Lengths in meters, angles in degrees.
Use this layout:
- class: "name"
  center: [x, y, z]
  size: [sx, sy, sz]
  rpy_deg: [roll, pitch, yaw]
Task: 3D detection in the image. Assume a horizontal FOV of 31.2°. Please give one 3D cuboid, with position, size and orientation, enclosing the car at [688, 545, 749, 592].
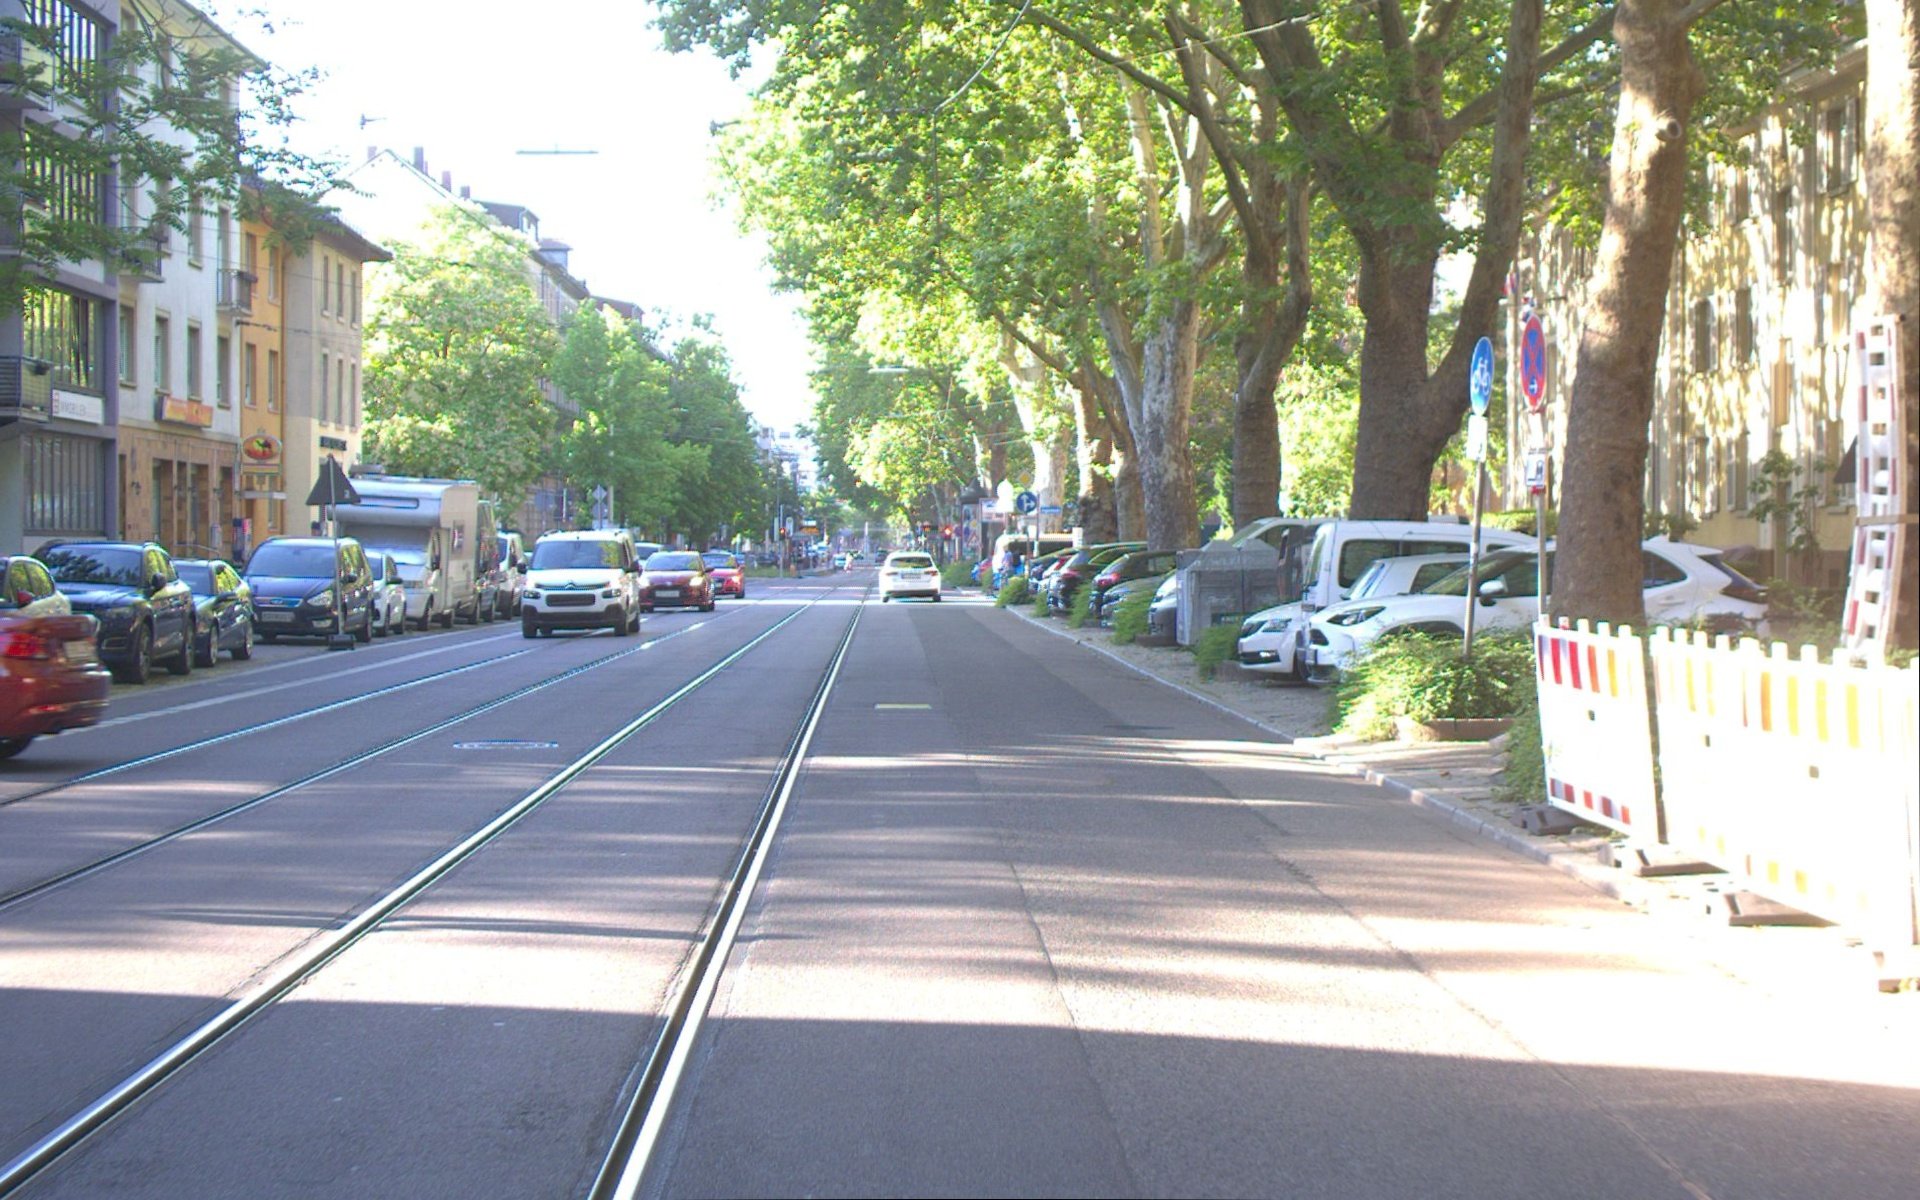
- class: "car"
  center: [-7.605, -1.021, 108.627]
  size: [1.723, 1.432, 4.069]
  rpy_deg: [-1, 1, -1]

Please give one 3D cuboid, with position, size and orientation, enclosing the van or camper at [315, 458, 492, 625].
- class: "van or camper"
  center: [-10.997, -1.158, 68.421]
  size: [2.337, 3.030, 6.397]
  rpy_deg: [4, 1, 0]

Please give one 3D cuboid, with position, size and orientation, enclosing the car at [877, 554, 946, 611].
- class: "car"
  center: [-1.426, -0.526, 99.269]
  size: [1.918, 1.579, 3.791]
  rpy_deg: [-1, 1, -1]

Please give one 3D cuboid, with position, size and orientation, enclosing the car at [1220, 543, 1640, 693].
- class: "car"
  center: [5.046, 0.177, 37.394]
  size: [4.371, 1.537, 1.801]
  rpy_deg: [0, 2, 3]

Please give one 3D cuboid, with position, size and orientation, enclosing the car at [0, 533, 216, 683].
- class: "car"
  center: [-10.307, 0.052, 41.417]
  size: [1.781, 1.605, 4.588]
  rpy_deg: [3, 1, -2]

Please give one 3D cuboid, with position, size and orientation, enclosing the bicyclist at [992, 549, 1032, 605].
- class: "bicyclist"
  center: [1.609, -0.717, 106.832]
  size: [1.045, 1.700, 1.058]
  rpy_deg: [0, 1, -10]

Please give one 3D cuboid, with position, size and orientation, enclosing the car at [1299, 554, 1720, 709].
- class: "car"
  center: [5.277, 0.286, 33.410]
  size: [3.844, 1.428, 1.851]
  rpy_deg: [0, 1, 3]

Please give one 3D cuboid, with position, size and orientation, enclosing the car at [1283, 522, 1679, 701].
- class: "car"
  center: [5.297, 0.100, 35.370]
  size: [3.844, 1.766, 1.916]
  rpy_deg: [0, 1, 3]

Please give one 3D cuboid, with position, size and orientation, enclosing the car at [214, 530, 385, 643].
- class: "car"
  center: [-10.732, -0.253, 56.179]
  size: [1.952, 1.680, 5.071]
  rpy_deg: [2, 1, -2]

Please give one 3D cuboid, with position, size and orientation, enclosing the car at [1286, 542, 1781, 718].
- class: "car"
  center: [5.111, 0.260, 31.000]
  size: [4.087, 1.516, 1.917]
  rpy_deg: [0, 0, -2]

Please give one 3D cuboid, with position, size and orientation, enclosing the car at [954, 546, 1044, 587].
- class: "car"
  center: [1.734, -1.503, 154.333]
  size: [3.987, 1.778, 2.000]
  rpy_deg: [0, 1, -1]

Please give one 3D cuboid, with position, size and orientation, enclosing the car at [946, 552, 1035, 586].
- class: "car"
  center: [1.368, -1.416, 156.636]
  size: [3.987, 1.515, 2.000]
  rpy_deg: [0, 1, -1]

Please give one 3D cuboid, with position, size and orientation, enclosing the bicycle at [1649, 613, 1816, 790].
- class: "bicycle"
  center: [5.010, 0.638, 22.384]
  size: [0.635, 1.067, 1.809]
  rpy_deg: [0, 1, -1]

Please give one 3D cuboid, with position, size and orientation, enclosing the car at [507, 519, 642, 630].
- class: "car"
  center: [-6.631, -0.459, 59.577]
  size: [1.891, 1.826, 4.896]
  rpy_deg: [0, 1, -1]

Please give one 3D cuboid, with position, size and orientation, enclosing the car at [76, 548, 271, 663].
- class: "car"
  center: [-10.587, 0.042, 46.565]
  size: [1.738, 1.396, 4.383]
  rpy_deg: [2, 1, -2]

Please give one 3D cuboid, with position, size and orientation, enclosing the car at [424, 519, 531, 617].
- class: "car"
  center: [-11.346, -0.793, 81.098]
  size: [1.952, 2.084, 5.249]
  rpy_deg: [3, 1, -3]

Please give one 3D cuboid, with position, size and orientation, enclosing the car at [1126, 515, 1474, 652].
- class: "car"
  center: [4.984, -0.256, 50.859]
  size: [4.835, 1.956, 2.065]
  rpy_deg: [0, 1, -3]

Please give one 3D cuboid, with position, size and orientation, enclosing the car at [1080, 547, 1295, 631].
- class: "car"
  center: [4.185, -0.219, 63.663]
  size: [3.838, 1.504, 1.711]
  rpy_deg: [0, 1, -1]

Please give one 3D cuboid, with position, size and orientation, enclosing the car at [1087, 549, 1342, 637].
- class: "car"
  center: [4.388, -0.131, 59.758]
  size: [4.247, 1.478, 1.898]
  rpy_deg: [0, 1, -1]

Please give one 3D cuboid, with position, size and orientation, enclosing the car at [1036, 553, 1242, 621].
- class: "car"
  center: [3.867, -0.285, 74.773]
  size: [4.295, 1.434, 1.948]
  rpy_deg: [0, 1, -2]

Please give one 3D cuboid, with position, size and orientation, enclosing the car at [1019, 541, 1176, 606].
- class: "car"
  center: [3.589, -0.696, 90.251]
  size: [3.923, 1.664, 1.961]
  rpy_deg: [0, 1, -3]

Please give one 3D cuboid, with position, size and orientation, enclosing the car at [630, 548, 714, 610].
- class: "car"
  center: [-7.030, -0.533, 84.250]
  size: [1.775, 1.453, 4.203]
  rpy_deg: [-1, 1, -1]

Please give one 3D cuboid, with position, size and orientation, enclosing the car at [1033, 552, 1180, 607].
- class: "car"
  center: [3.725, -0.525, 88.031]
  size: [3.650, 1.373, 1.890]
  rpy_deg: [0, 1, 0]

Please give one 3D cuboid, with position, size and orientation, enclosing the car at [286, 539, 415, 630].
- class: "car"
  center: [-10.938, -0.306, 61.924]
  size: [1.710, 1.483, 3.862]
  rpy_deg: [3, 1, -2]

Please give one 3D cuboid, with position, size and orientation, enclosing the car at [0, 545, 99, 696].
- class: "car"
  center: [-10.467, 0.162, 36.064]
  size: [1.806, 1.473, 4.090]
  rpy_deg: [3, 1, 0]

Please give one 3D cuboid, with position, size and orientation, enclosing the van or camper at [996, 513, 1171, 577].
- class: "van or camper"
  center: [4.068, -1.828, 114.295]
  size: [5.554, 2.006, 2.245]
  rpy_deg: [0, 3, -5]

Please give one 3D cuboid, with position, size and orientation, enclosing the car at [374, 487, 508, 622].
- class: "car"
  center: [-11.284, -1.010, 75.036]
  size: [2.086, 2.722, 5.310]
  rpy_deg: [3, 1, -1]

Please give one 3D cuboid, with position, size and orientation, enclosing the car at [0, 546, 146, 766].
- class: "car"
  center: [-7.815, 0.435, 23.101]
  size: [4.223, 1.385, 1.798]
  rpy_deg: [-1, -3, 4]

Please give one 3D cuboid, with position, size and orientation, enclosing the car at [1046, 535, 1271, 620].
- class: "car"
  center: [4.041, -0.467, 70.294]
  size: [4.496, 1.596, 2.027]
  rpy_deg: [-1, 1, 3]

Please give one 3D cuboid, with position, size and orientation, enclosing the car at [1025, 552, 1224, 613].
- class: "car"
  center: [3.963, -0.434, 83.166]
  size: [4.686, 1.441, 1.892]
  rpy_deg: [0, 1, -1]

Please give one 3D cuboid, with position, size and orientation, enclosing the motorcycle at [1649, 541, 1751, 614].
- class: "motorcycle"
  center: [14.587, -0.446, 67.783]
  size: [1.803, 1.356, 0.622]
  rpy_deg: [-3, 1, -3]
